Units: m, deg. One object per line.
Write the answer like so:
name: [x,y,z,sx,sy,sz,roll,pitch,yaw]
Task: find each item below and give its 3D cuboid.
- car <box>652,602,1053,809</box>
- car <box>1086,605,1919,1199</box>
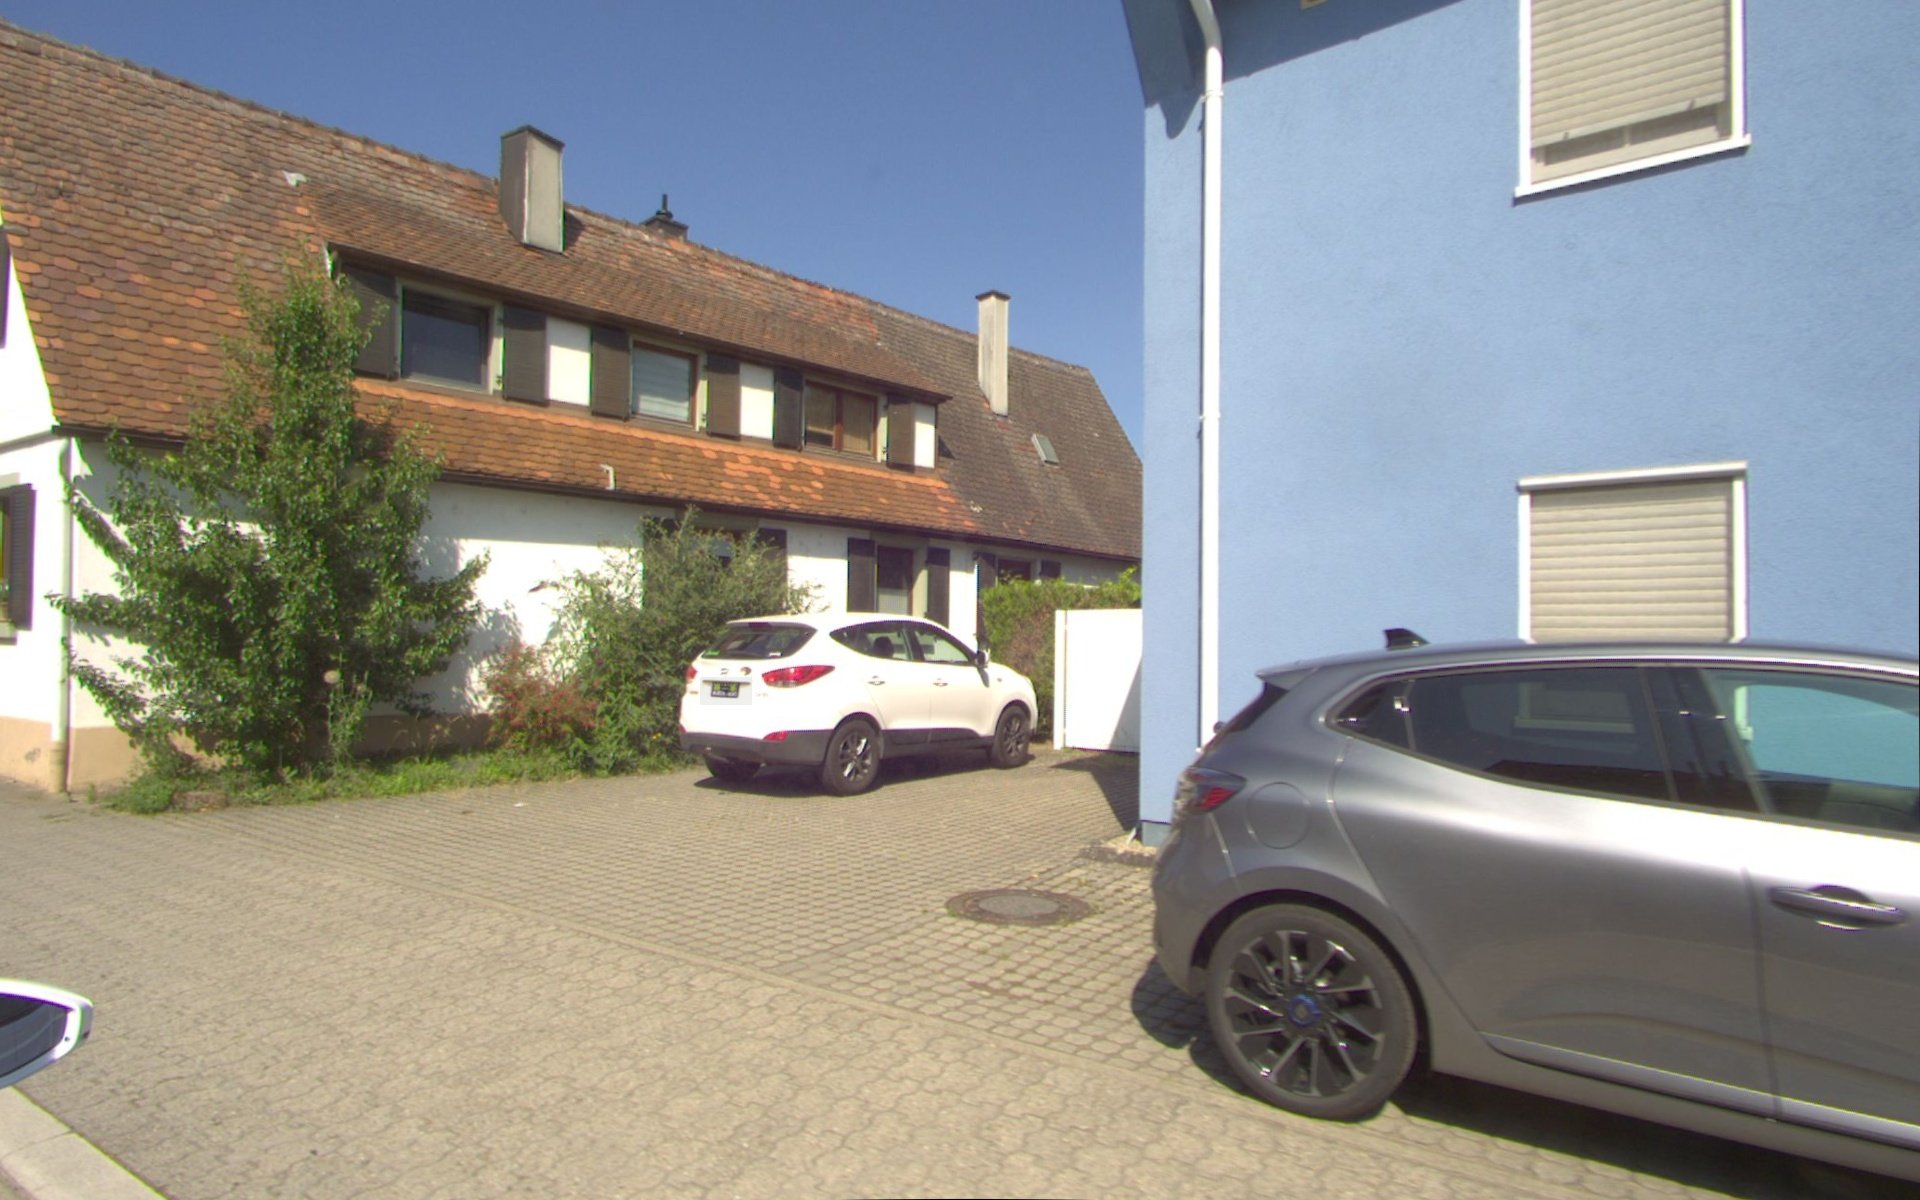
car: [-0.885,0.957,10.369,1.789,1.678,4.162,-1,-3,37]
car: [2.565,0.776,2.829,4.090,1.437,1.686,-2,-4,35]
